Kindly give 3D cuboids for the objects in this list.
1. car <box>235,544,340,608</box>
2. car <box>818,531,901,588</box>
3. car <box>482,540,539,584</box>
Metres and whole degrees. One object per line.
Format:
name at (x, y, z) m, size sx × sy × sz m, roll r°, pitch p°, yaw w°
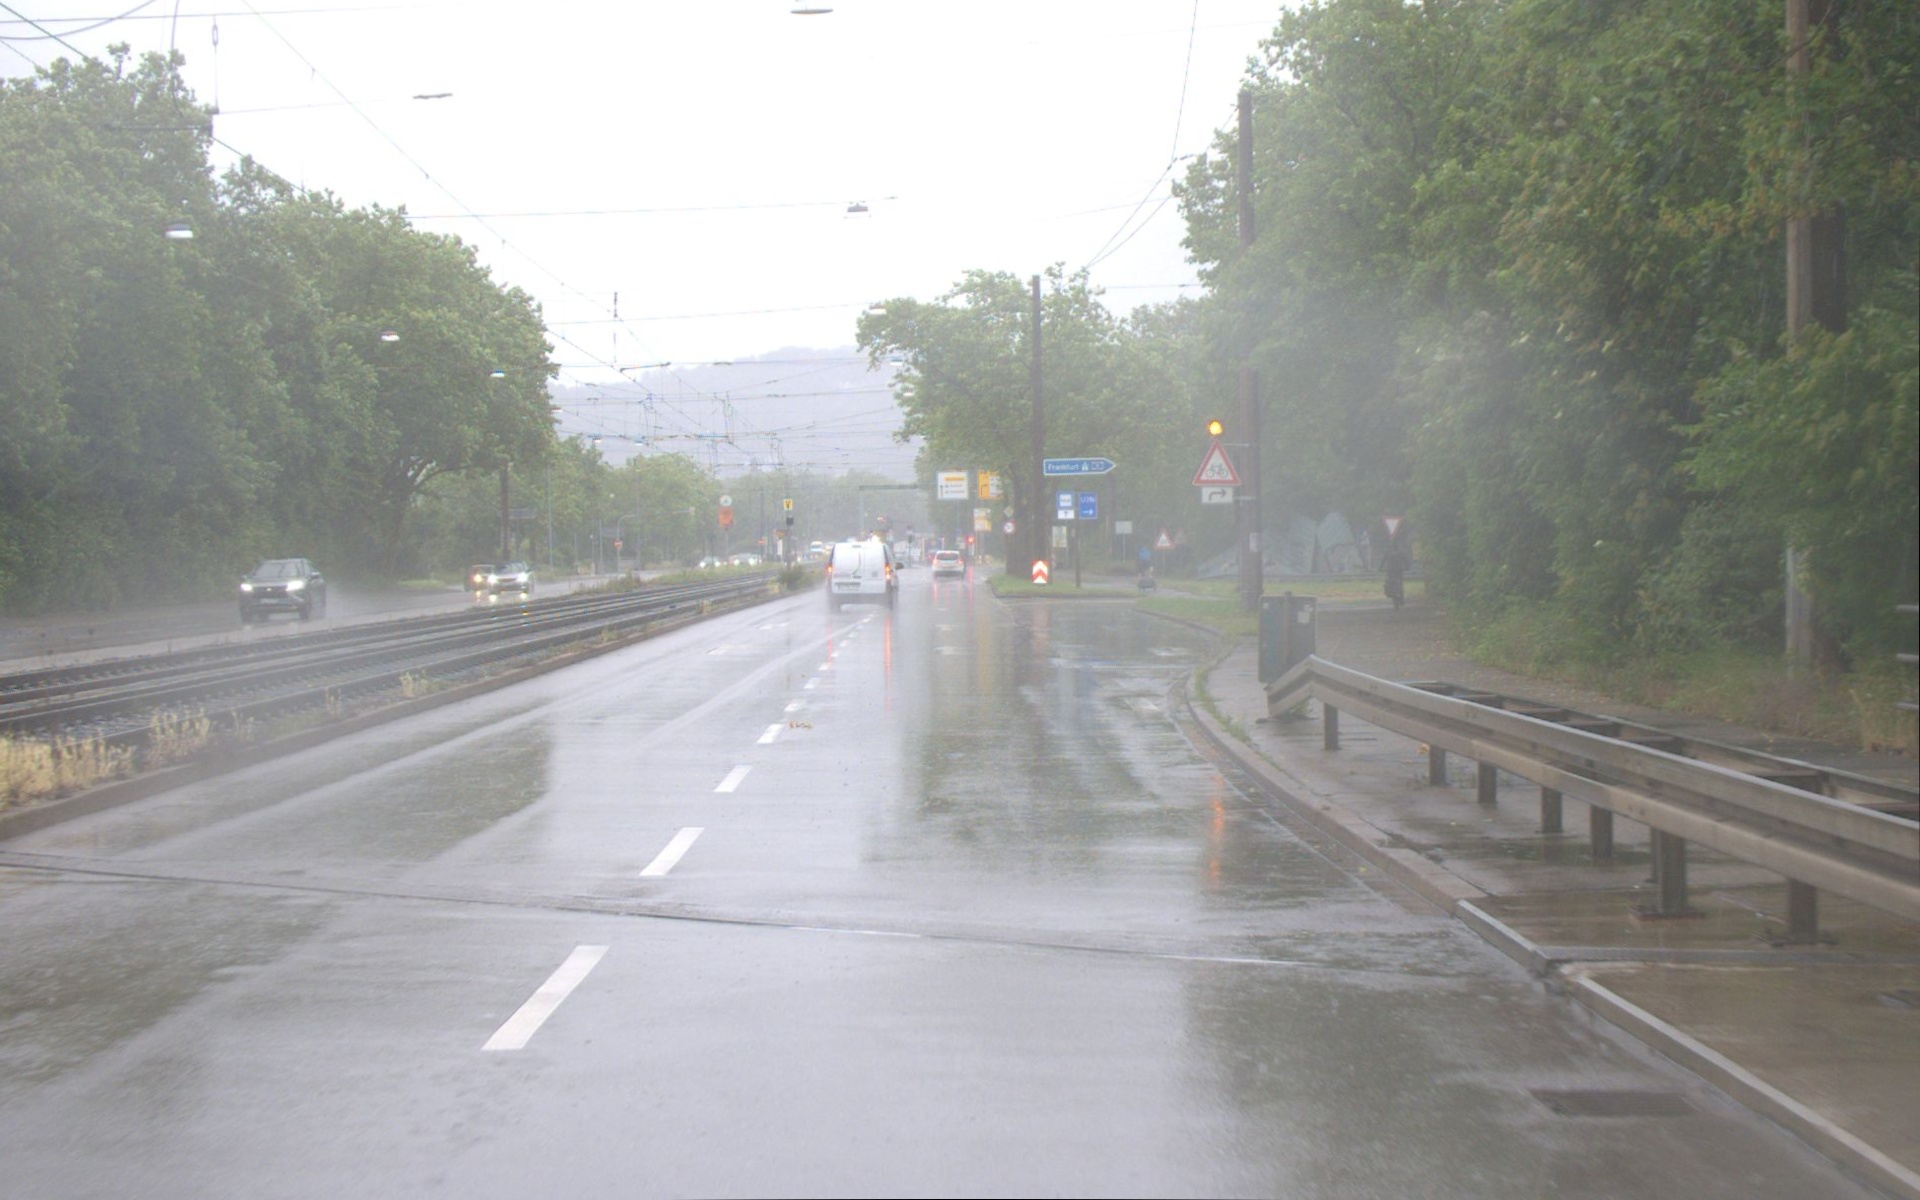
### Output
car at (-18.142, -0.669, 92.897) m, size 1.993 × 1.667 × 4.873 m, roll 0°, pitch 1°, yaw -2°
car at (-2.620, -1.059, 90.775) m, size 2.077 × 1.415 × 4.000 m, roll -1°, pitch 1°, yaw 0°
car at (-19.933, -1.687, 152.611) m, size 1.993 × 1.776 × 4.000 m, roll 4°, pitch 1°, yaw -1°
